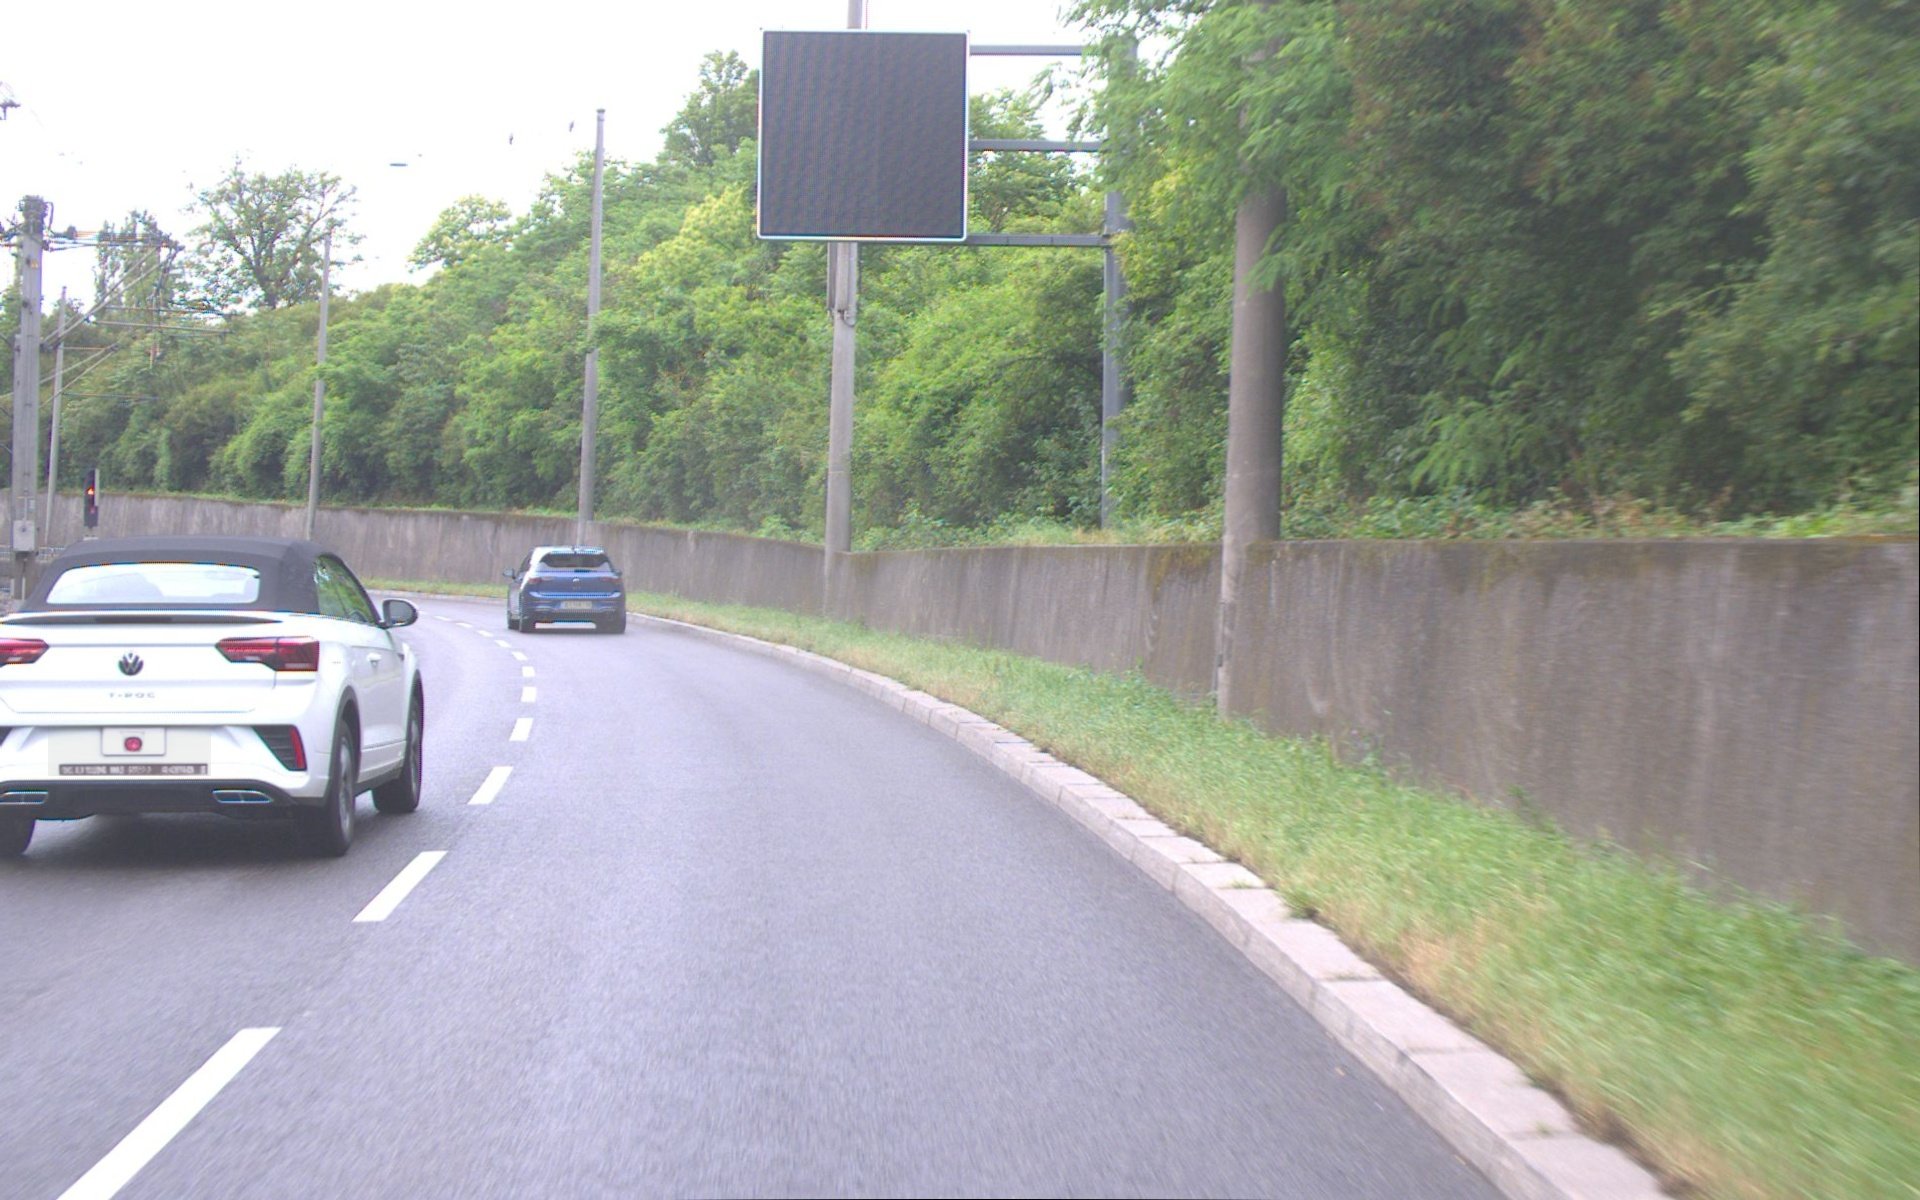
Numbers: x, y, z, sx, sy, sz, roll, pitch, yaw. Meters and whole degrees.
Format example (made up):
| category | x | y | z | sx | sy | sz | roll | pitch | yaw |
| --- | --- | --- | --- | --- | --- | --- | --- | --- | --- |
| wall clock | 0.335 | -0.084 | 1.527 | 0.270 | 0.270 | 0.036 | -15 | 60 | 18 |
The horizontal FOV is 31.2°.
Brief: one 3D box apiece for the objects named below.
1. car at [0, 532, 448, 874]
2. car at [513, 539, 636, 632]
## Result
| category | x | y | z | sx | sy | sz | roll | pitch | yaw |
| --- | --- | --- | --- | --- | --- | --- | --- | --- | --- |
| car | -3.822 | 0.418 | 17.705 | 1.871 | 1.519 | 4.541 | 0 | 1 | -2 |
| car | -6.612 | -0.277 | 58.640 | 1.763 | 1.496 | 4.001 | 1 | 1 | -11 |
